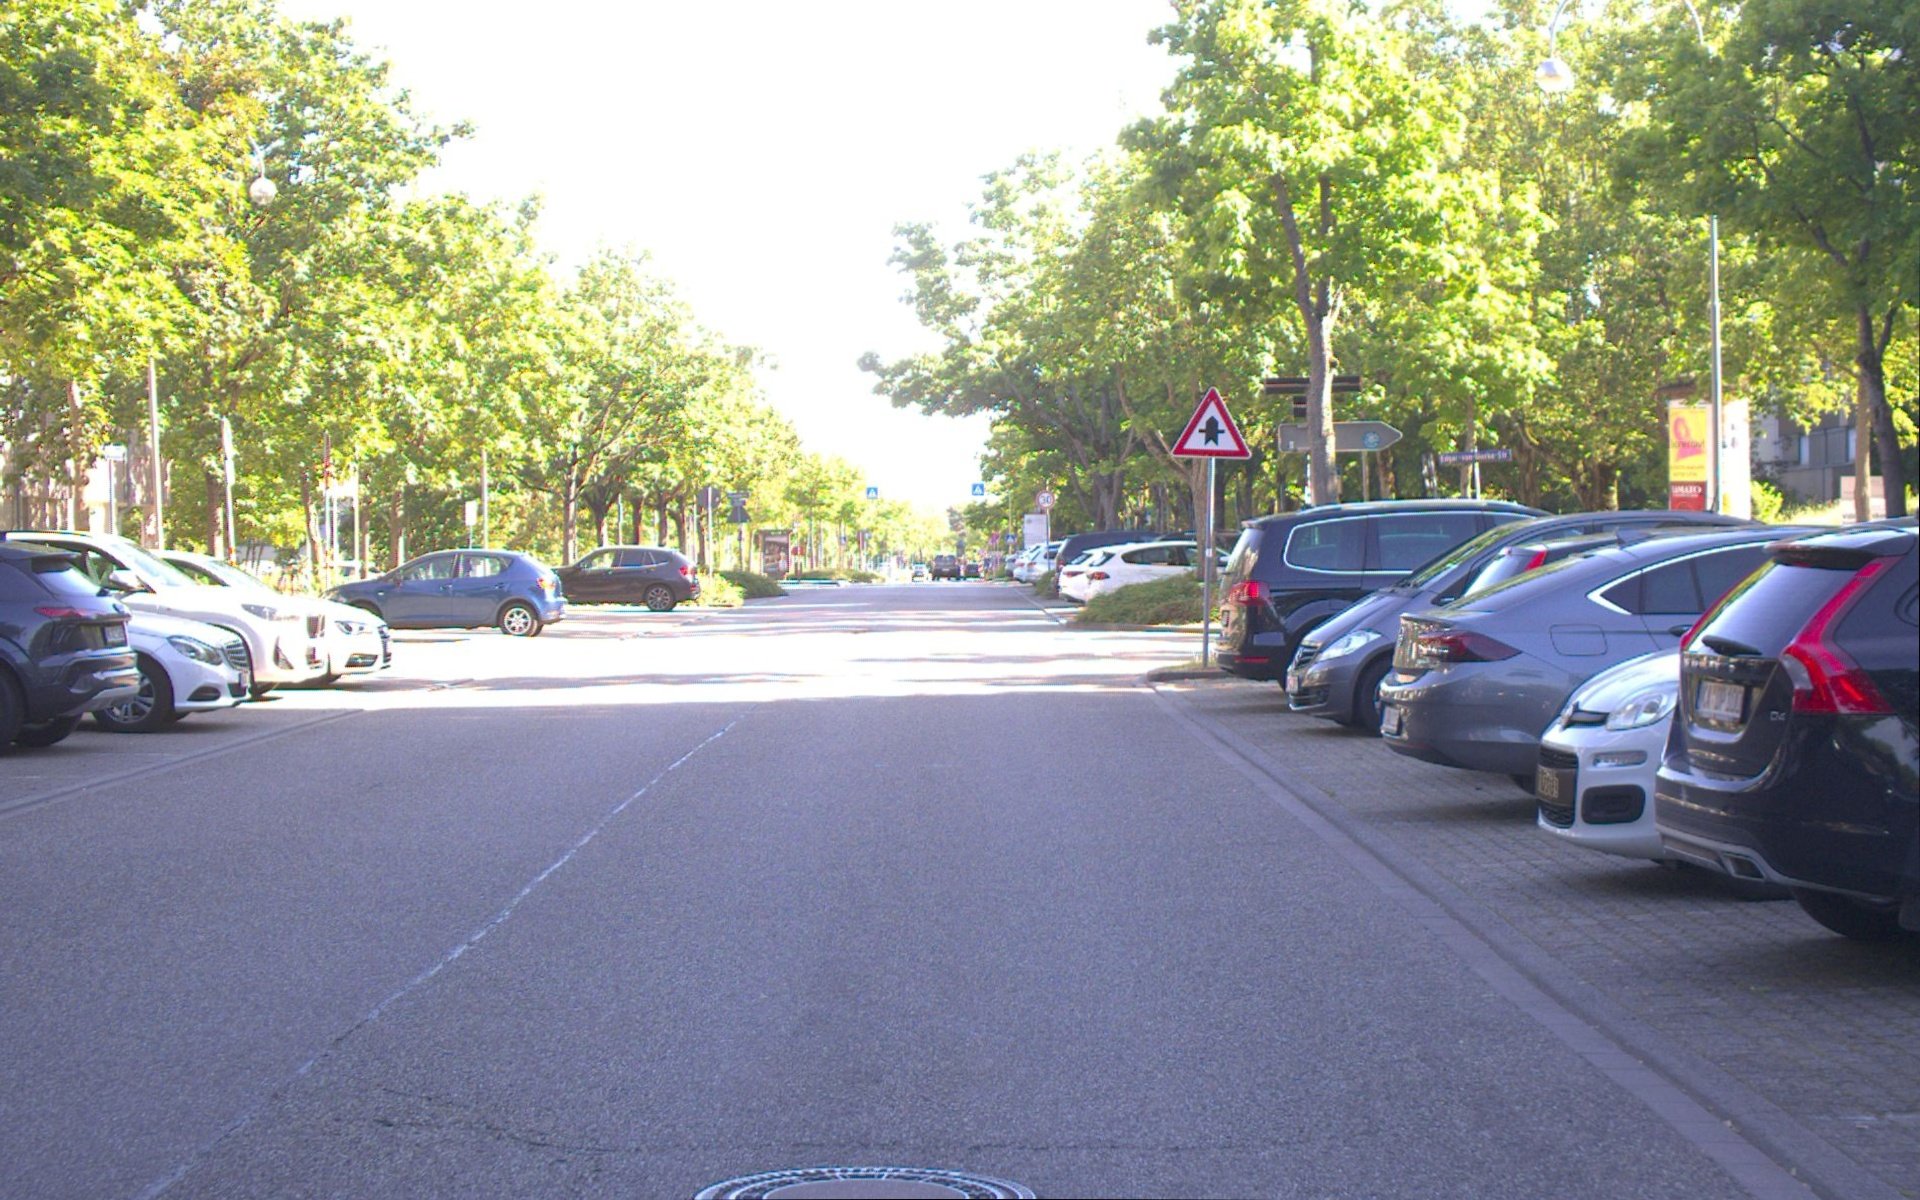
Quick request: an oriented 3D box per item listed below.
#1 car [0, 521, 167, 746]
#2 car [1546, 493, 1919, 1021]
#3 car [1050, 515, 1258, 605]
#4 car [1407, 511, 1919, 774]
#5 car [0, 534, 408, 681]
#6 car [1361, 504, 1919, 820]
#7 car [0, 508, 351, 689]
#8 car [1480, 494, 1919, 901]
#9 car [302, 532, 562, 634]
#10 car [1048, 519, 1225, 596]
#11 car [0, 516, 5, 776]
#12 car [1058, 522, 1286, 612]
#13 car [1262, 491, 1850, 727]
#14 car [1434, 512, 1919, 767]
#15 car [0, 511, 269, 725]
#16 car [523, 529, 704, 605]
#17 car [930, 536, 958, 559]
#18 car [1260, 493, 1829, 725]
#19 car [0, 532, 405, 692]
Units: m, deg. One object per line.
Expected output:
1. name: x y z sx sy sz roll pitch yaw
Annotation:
1. car: -8.063 0.277 25.273 3.987 1.581 1.765 -1 0 3
2. car: 4.331 0.368 11.498 4.248 1.549 1.920 -3 1 -6
3. car: 3.944 -0.823 70.258 3.986 1.786 2.000 -1 1 -5
4. car: 4.895 0.216 20.978 4.043 1.449 1.519 -2 1 -3
5. car: -7.963 0.064 36.386 3.986 1.476 1.680 -1 1 -2
6. car: 4.261 0.272 17.995 4.043 1.486 1.550 -2 1 -3
7. car: -8.124 -0.023 33.457 3.987 1.648 1.860 -1 1 3
8. car: 4.386 0.344 14.522 4.043 1.585 1.550 -1 1 -7
9. car: -8.463 -0.287 55.384 3.986 1.527 1.618 -1 2 -4
10. car: 4.206 -1.019 82.322 3.986 1.786 2.000 -1 1 -5
11. car: -7.887 0.310 21.081 3.541 1.651 1.761 0 0 2
12. car: 3.927 -0.621 64.151 3.986 1.619 2.000 -1 1 -5
13. car: 4.424 0.054 25.867 4.043 1.576 1.641 -2 1 -3
14. car: 5.114 0.193 21.166 4.043 1.416 1.737 -2 1 -4
15. car: -7.884 0.130 28.466 3.987 1.714 1.709 0 1 -1
16. car: -8.055 -0.781 80.256 3.987 1.678 2.000 -1 1 0
17. car: -1.165 -3.750 244.702 1.933 1.592 4.366 -1 1 0
18. car: 4.343 0.047 25.920 3.892 1.650 1.858 -1 1 -4
19. car: -7.963 0.107 36.366 3.892 1.606 1.858 -1 1 -1
